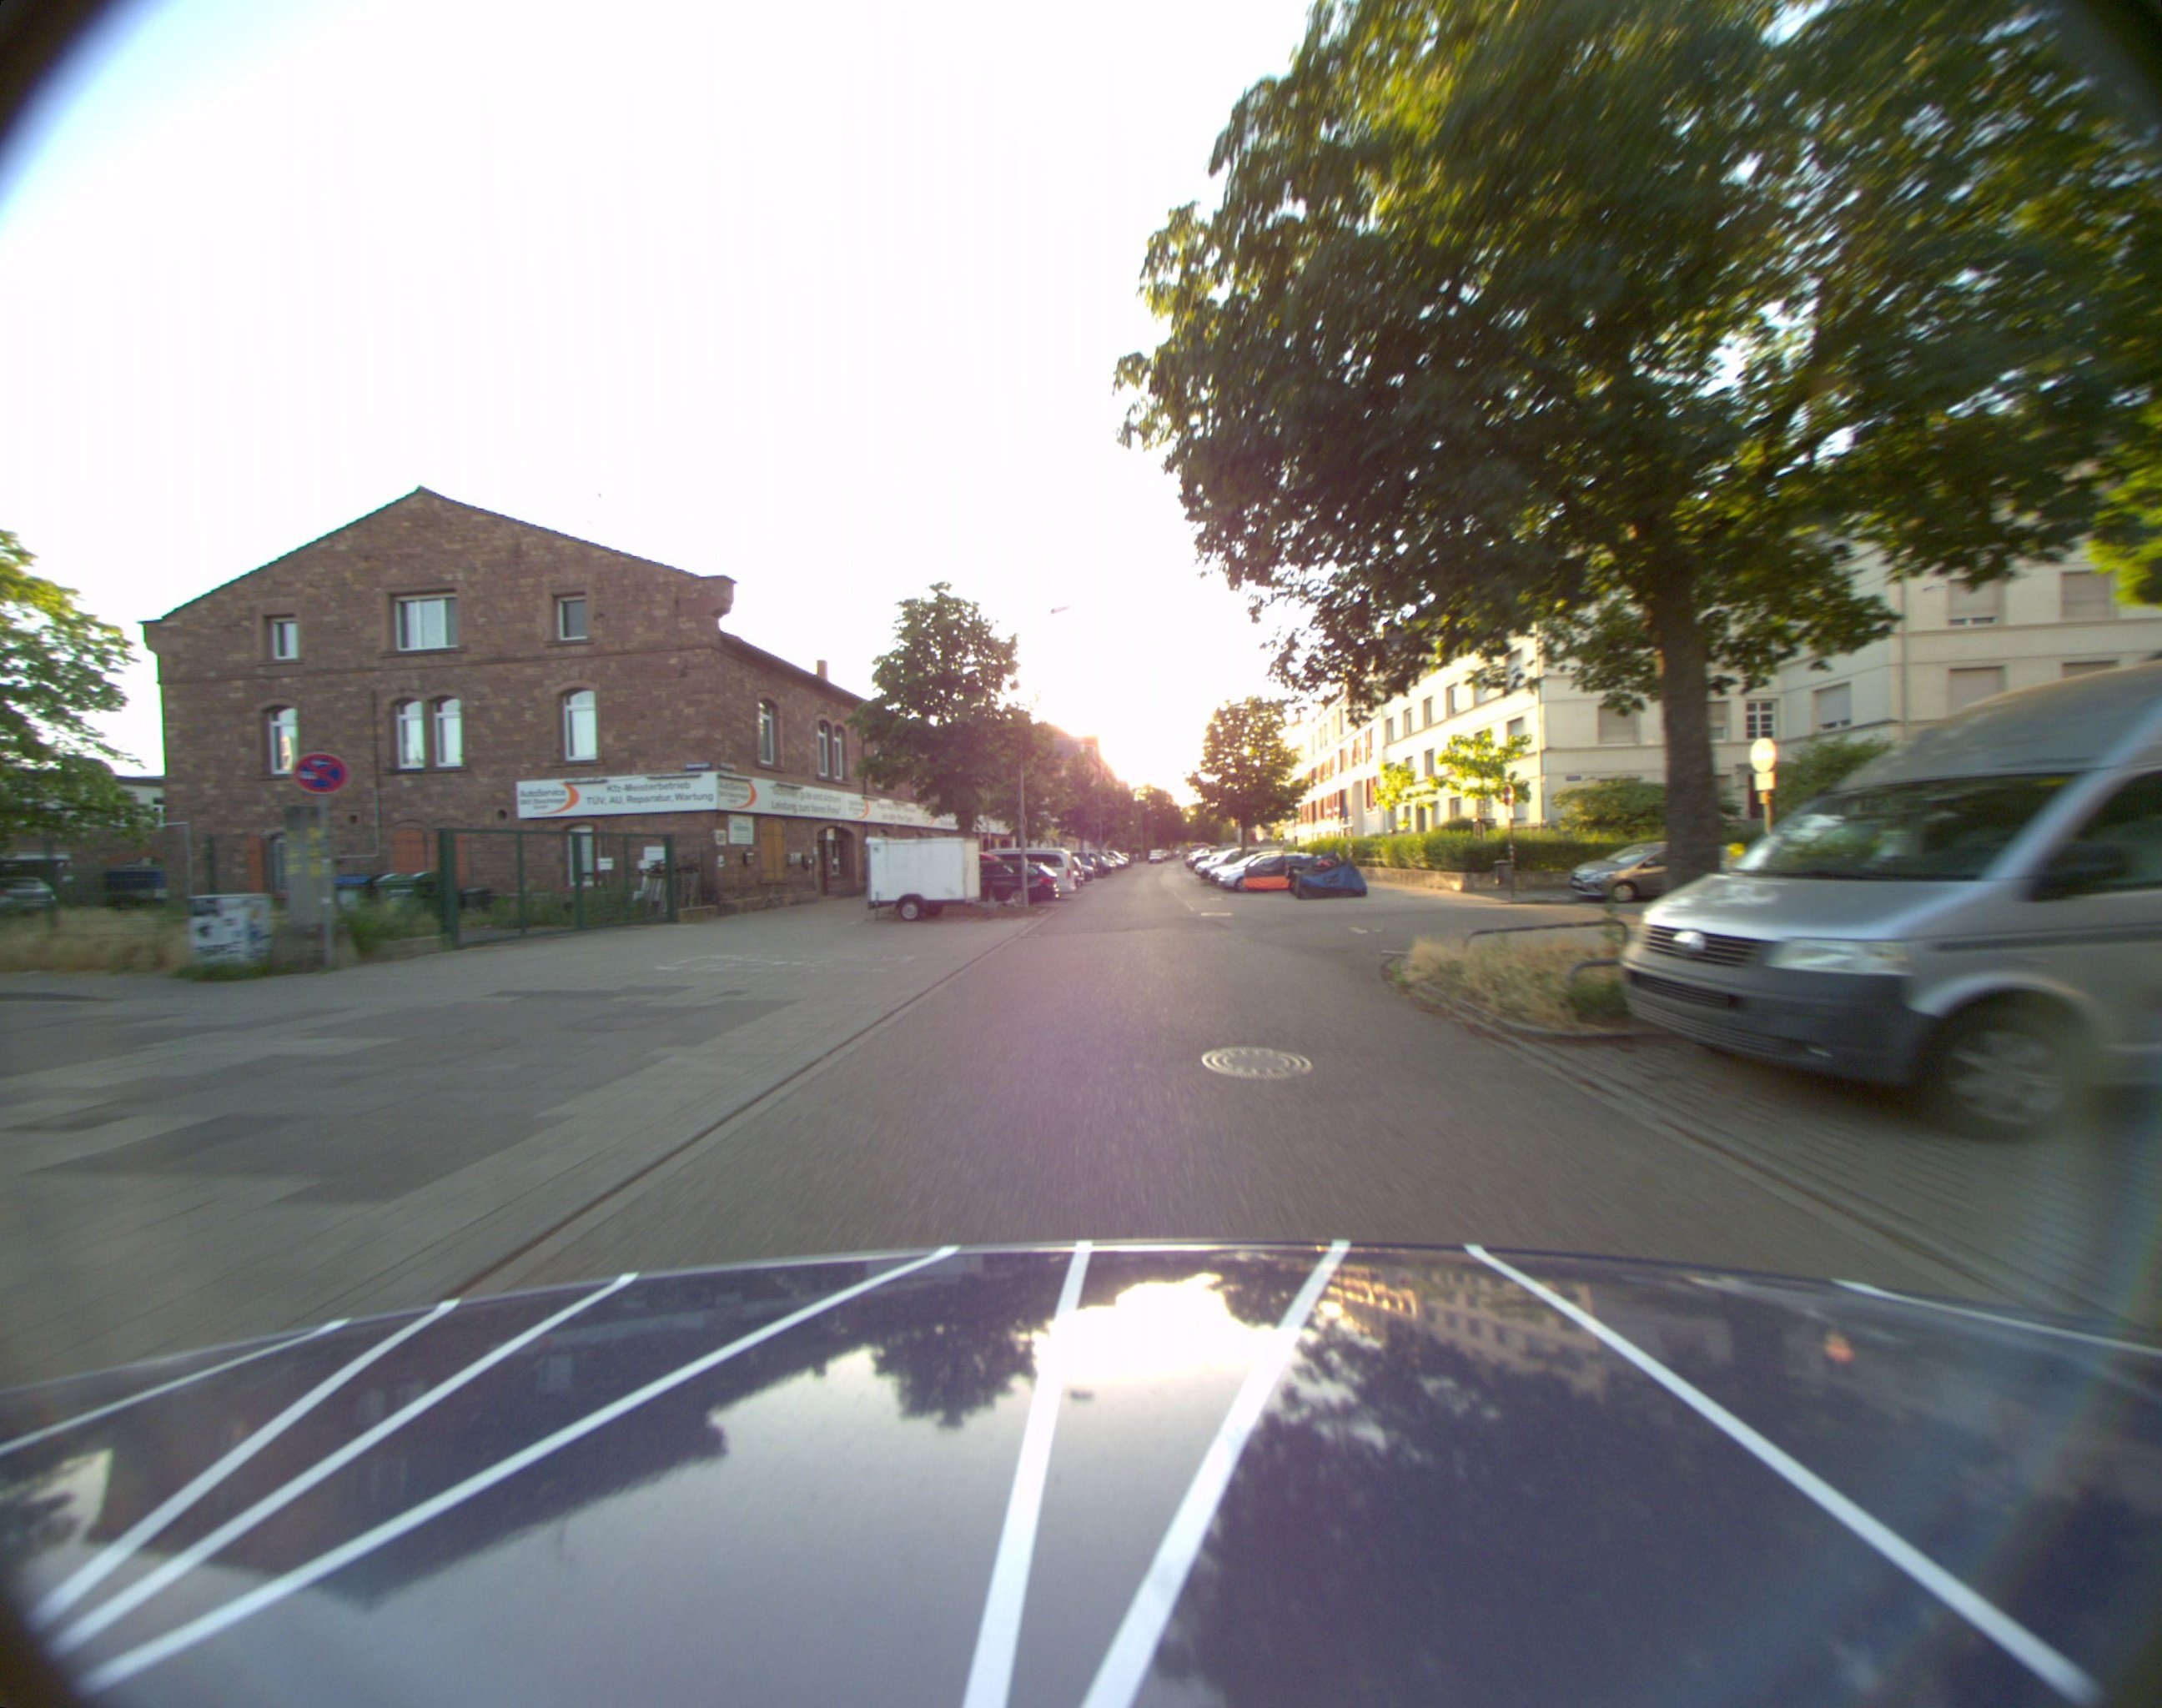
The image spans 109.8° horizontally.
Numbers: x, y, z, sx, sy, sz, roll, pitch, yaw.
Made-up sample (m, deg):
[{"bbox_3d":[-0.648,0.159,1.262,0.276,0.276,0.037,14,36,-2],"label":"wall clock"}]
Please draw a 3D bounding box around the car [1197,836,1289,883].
[{"bbox_3d":[8.592,0.307,40.636,4.521,2.058,2.002,-5,-1,9],"label":"car"}]

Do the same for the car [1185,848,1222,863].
[{"bbox_3d":[14.672,0.167,91.098,4.345,1.515,1.706,-3,1,7],"label":"car"}]

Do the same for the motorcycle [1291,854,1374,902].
[{"bbox_3d":[8.076,0.757,24.504,2.387,1.428,0.881,-2,1,8],"label":"motorcycle"}]

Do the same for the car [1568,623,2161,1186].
[{"bbox_3d":[5.876,0.191,4.375,4.742,2.555,2.000,-2,1,4],"label":"car"}]

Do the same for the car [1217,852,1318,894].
[{"bbox_3d":[7.435,0.738,30.627,3.721,1.497,1.690,-2,1,7],"label":"car"}]

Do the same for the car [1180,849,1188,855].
[{"bbox_3d":[23.959,-0.531,176.963,1.761,1.478,3.785,0,1,6],"label":"car"}]

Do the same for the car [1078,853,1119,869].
[{"bbox_3d":[1.724,0.640,74.094,3.793,1.488,1.681,1,1,6],"label":"car"}]

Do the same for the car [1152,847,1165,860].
[{"bbox_3d":[11.740,-0.083,115.355,1.938,1.893,4.057,-2,0,6],"label":"car"}]

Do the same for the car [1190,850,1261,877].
[{"bbox_3d":[9.593,0.593,50.673,4.418,1.443,1.828,-4,0,4],"label":"car"}]

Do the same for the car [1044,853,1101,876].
[{"bbox_3d":[-0.630,0.757,57.039,3.995,1.537,1.845,2,1,6],"label":"car"}]

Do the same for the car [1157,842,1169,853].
[{"bbox_3d":[14.684,-1.168,135.595,1.998,2.002,4.001,-2,0,6],"label":"car"}]

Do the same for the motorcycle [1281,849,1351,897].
[{"bbox_3d":[8.267,0.667,26.811,2.235,1.573,0.774,-2,1,8],"label":"motorcycle"}]

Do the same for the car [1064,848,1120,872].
[{"bbox_3d":[0.973,0.501,66.741,4.595,1.851,2.013,3,1,8],"label":"car"}]

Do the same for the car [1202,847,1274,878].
[{"bbox_3d":[9.371,0.512,45.598,3.996,1.476,1.756,-5,0,5],"label":"car"}]

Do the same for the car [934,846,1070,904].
[{"bbox_3d":[-2.676,0.691,26.299,4.310,1.789,1.905,-2,1,5],"label":"car"}]

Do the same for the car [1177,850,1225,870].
[{"bbox_3d":[10.450,0.541,66.362,3.892,1.484,1.654,-4,1,4],"label":"car"}]

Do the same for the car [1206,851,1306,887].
[{"bbox_3d":[8.134,0.691,35.651,4.335,1.397,1.852,-4,0,7],"label":"car"}]

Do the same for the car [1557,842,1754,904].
[{"bbox_3d":[15.164,0.487,20.252,3.773,1.456,1.829,-2,1,5],"label":"car"}]

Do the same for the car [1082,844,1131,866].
[{"bbox_3d":[2.746,0.109,82.066,4.969,2.089,2.152,-2,2,11],"label":"car"}]

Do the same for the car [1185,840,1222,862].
[{"bbox_3d":[15.183,-0.373,94.013,4.410,2.542,1.933,-2,1,8],"label":"car"}]

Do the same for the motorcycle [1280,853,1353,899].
[{"bbox_3d":[7.913,0.735,25.614,2.235,1.428,0.774,-2,1,8],"label":"motorcycle"}]

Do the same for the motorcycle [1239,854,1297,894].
[{"bbox_3d":[7.122,0.755,28.966,1.990,1.428,0.721,-2,1,1],"label":"motorcycle"}]

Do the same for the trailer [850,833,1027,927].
[{"bbox_3d":[-3.613,0.649,19.703,3.994,2.175,2.001,-2,1,8],"label":"trailer"}]

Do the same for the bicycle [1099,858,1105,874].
[{"bbox_3d":[1.658,0.949,58.825,0.309,1.185,1.763,-2,1,6],"label":"bicycle"}]

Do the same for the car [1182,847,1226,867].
[{"bbox_3d":[12.638,0.343,78.336,4.187,1.885,1.898,-2,1,3],"label":"car"}]

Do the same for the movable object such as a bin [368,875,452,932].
[{"bbox_3d":[-18.336,1.333,20.790,1.263,1.435,1.097,-2,1,9],"label":"movable object such as a bin"}]

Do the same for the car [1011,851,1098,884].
[{"bbox_3d":[-1.525,0.761,44.268,4.796,1.743,2.018,2,0,5],"label":"car"}]

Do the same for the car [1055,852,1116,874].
[{"bbox_3d":[0.396,0.734,61.811,4.703,1.622,2.001,2,1,8],"label":"car"}]

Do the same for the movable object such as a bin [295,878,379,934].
[{"bbox_3d":[-20.599,1.437,21.063,1.288,1.435,1.059,-2,1,9],"label":"movable object such as a bin"}]

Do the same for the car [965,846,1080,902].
[{"bbox_3d":[-2.144,0.728,28.829,3.995,1.893,2.000,-2,1,5],"label":"car"}]

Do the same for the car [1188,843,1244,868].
[{"bbox_3d":[12.185,0.094,68.858,4.863,2.043,2.001,-2,1,10],"label":"car"}]

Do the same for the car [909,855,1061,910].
[{"bbox_3d":[-2.954,0.881,24.022,4.436,1.490,1.774,-2,1,5],"label":"car"}]

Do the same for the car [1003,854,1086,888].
[{"bbox_3d":[-1.816,0.858,38.887,3.995,1.609,1.895,1,1,5],"label":"car"}]

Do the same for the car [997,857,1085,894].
[{"bbox_3d":[-1.878,0.992,36.251,3.955,1.556,1.821,-2,1,3],"label":"car"}]

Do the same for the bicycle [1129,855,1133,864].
[{"bbox_3d":[5.783,0.606,88.555,0.357,1.018,1.972,-2,0,6],"label":"bicycle"}]

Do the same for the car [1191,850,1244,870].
[{"bbox_3d":[11.469,0.504,64.002,4.148,1.408,1.739,-4,0,3],"label":"car"}]

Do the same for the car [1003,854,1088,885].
[{"bbox_3d":[-1.897,0.841,41.558,4.424,1.565,1.982,1,0,5],"label":"car"}]

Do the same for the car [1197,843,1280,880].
[{"bbox_3d":[8.914,0.446,43.337,4.430,1.791,1.944,-4,0,8],"label":"car"}]

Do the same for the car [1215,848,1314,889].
[{"bbox_3d":[7.919,0.611,33.141,3.995,1.574,1.729,-2,1,7],"label":"car"}]

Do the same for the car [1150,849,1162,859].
[{"bbox_3d":[10.823,-0.035,109.577,1.732,1.367,3.764,-2,0,6],"label":"car"}]

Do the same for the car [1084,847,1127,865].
[{"bbox_3d":[2.574,0.156,79.467,4.299,1.847,2.001,0,1,10],"label":"car"}]

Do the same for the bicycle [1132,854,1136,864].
[{"bbox_3d":[6.201,0.555,88.537,0.357,1.093,1.972,-2,1,6],"label":"bicycle"}]

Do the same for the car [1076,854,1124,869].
[{"bbox_3d":[1.928,0.735,76.520,4.731,1.487,2.001,0,1,6],"label":"car"}]

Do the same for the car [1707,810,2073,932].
[{"bbox_3d":[15.091,0.303,14.439,4.587,2.002,2.000,-2,1,5],"label":"car"}]

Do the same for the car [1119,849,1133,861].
[{"bbox_3d":[6.575,0.132,110.561,1.799,1.515,4.001,-2,0,6],"label":"car"}]

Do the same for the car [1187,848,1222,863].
[{"bbox_3d":[14.463,0.177,88.751,3.956,1.531,1.756,-3,1,10],"label":"car"}]

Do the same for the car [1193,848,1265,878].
[{"bbox_3d":[9.348,0.554,48.285,4.252,1.611,1.814,-4,0,6],"label":"car"}]
